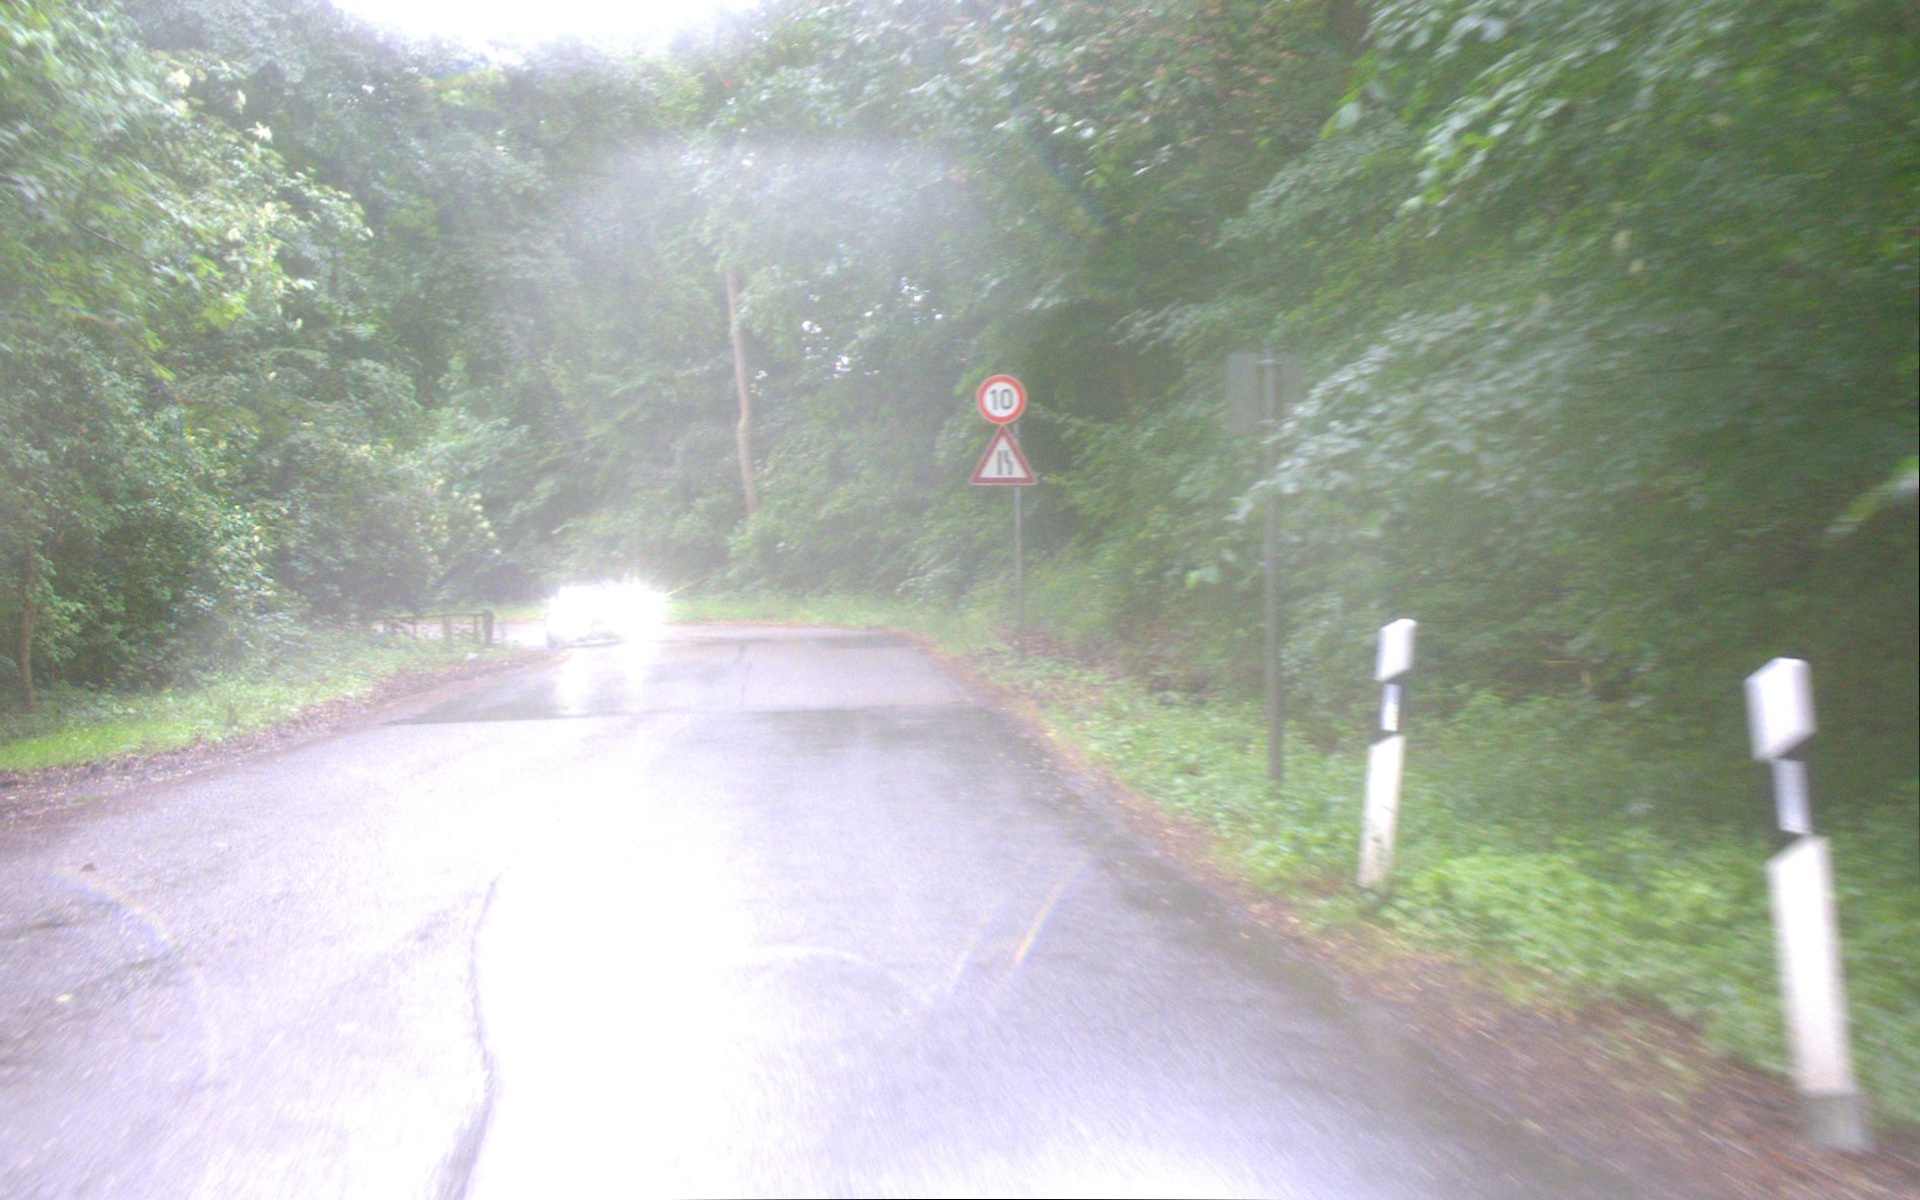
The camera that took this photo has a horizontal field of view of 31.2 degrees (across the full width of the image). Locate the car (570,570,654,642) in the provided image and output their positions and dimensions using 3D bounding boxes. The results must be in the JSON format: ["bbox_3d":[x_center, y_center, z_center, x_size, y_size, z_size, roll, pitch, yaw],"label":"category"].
[{"bbox_3d":[-7.610,0.107,75.442,1.713,1.470,3.891,-3,1,-5],"label":"car"}]
